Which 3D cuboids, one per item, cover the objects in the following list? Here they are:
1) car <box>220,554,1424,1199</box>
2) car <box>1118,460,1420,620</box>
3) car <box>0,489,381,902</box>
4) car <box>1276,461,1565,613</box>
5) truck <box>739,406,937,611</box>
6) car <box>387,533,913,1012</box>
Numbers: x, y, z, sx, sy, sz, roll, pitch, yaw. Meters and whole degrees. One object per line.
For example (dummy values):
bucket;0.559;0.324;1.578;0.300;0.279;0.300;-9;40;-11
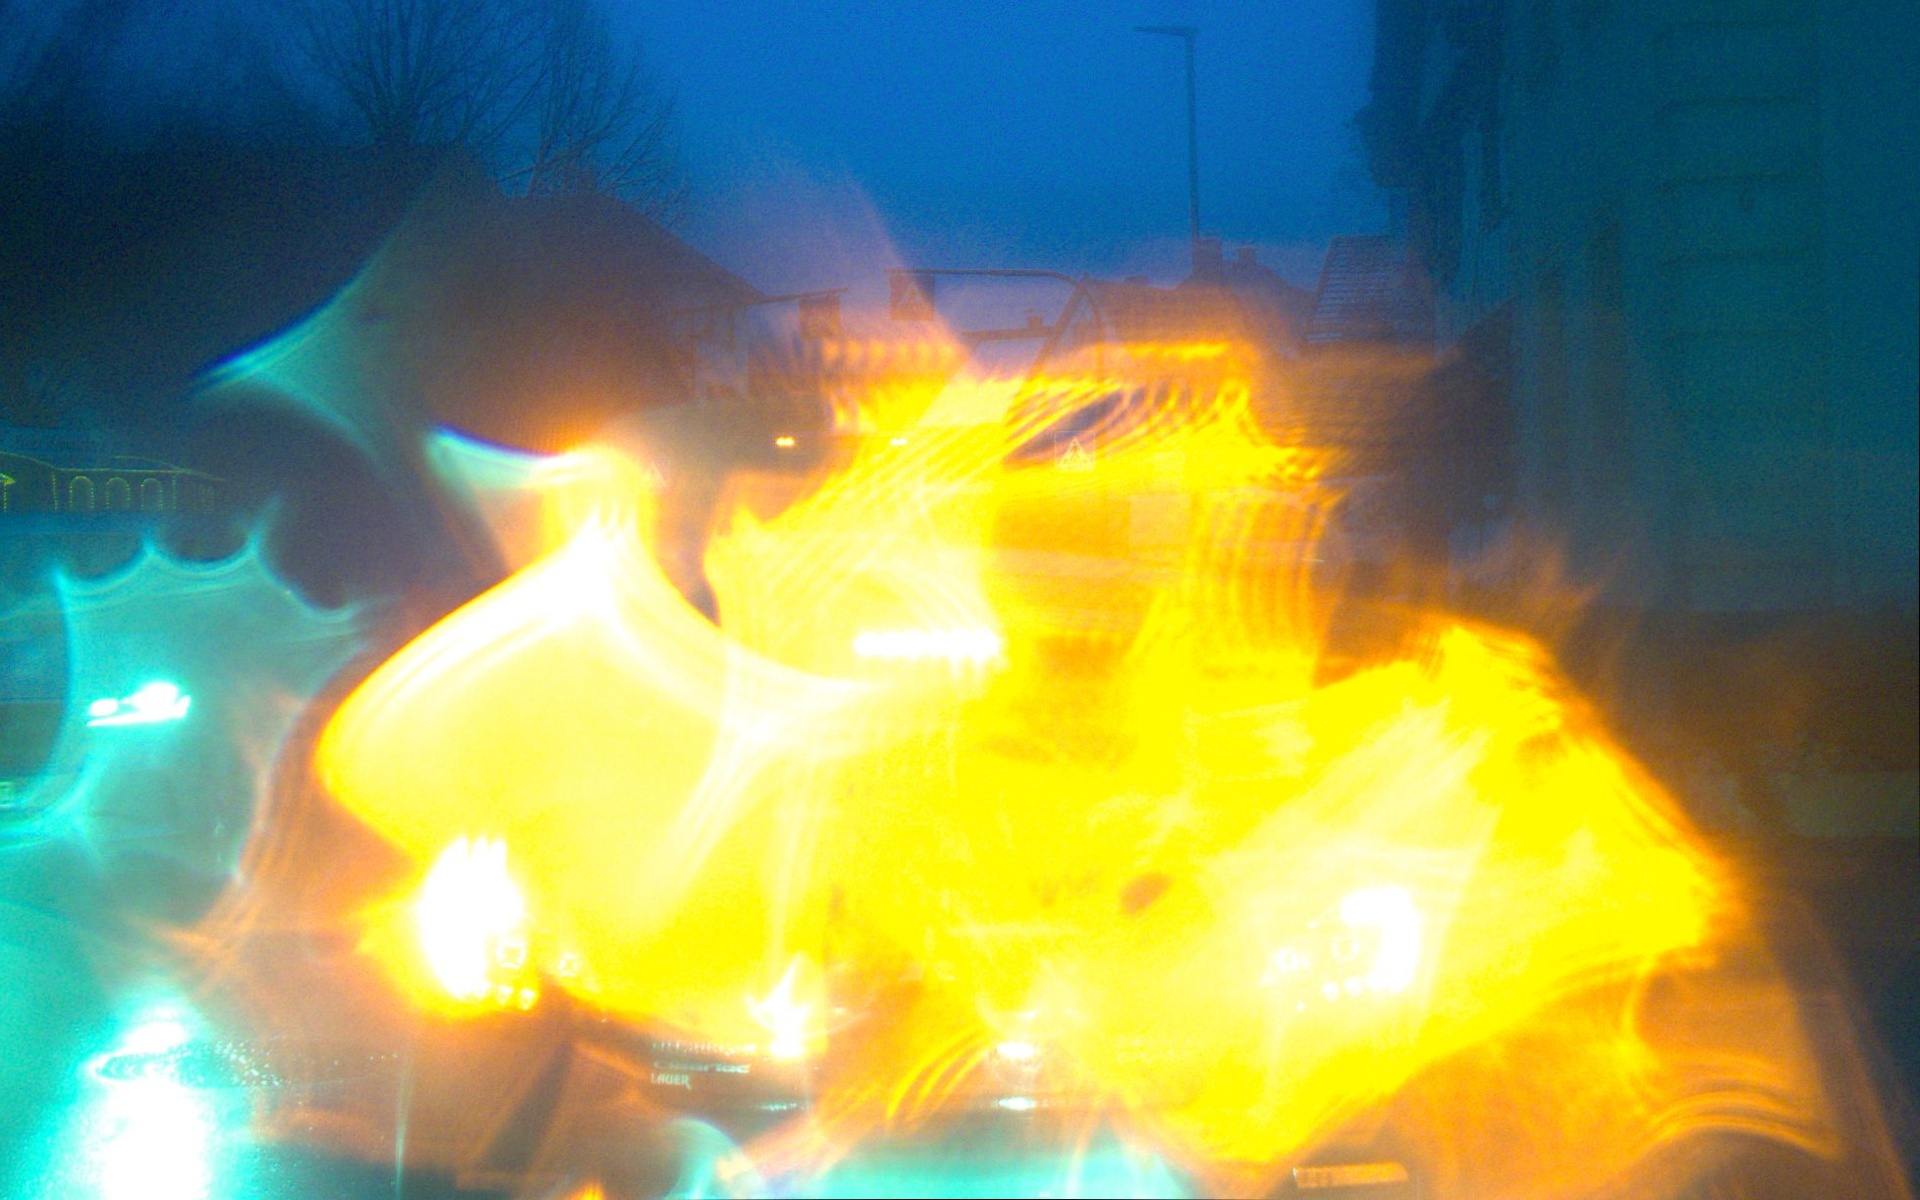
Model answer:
car;-0.206;0.660;6.377;1.638;1.476;3.379;0;1;-1
car;4.318;-0.836;47.949;4.098;2.155;1.913;0;1;7
car;-3.875;0.320;15.506;1.810;1.590;4.400;-1;1;-1
car;6.702;-0.920;50.222;4.098;2.144;1.913;0;1;7
truck;-1.925;-1.478;56.331;3.015;3.118;8.001;0;1;-1
car;-1.028;0.508;12.391;1.638;1.476;3.272;0;1;-2
